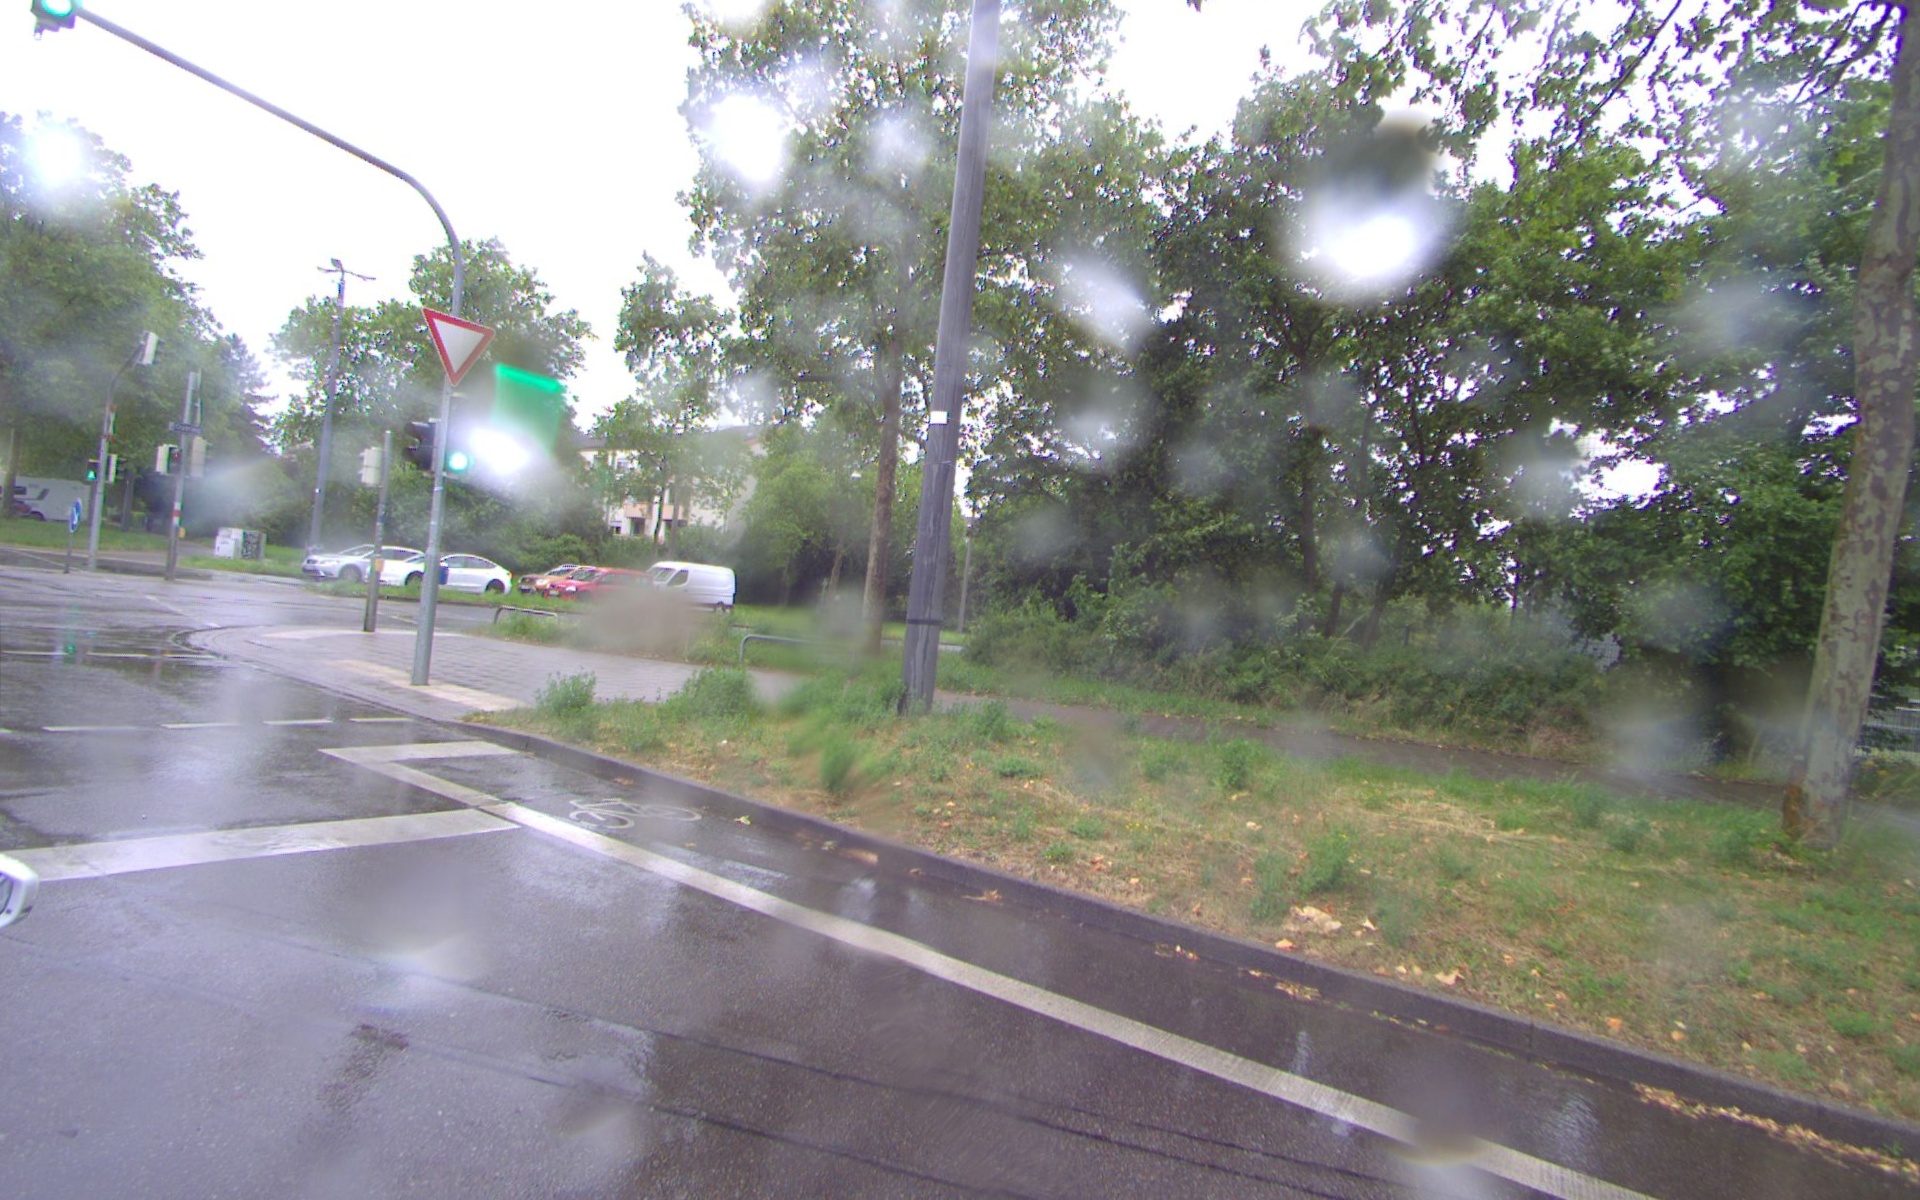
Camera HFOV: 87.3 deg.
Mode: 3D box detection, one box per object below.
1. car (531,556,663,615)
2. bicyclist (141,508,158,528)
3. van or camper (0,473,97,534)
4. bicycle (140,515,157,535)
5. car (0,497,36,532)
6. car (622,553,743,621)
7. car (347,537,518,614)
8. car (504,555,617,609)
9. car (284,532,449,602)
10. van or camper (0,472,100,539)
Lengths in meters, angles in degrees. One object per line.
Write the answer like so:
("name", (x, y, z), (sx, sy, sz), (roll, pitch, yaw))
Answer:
("car", (-13.832, -0.519, 38.624), (1.760, 1.625, 4.615), (6, -2, 29))
("bicyclist", (-64.332, -6.487, 79.810), (0.858, 1.441, 0.945), (8, -2, -42))
("van or camper", (-63.190, -6.647, 67.585), (7.388, 3.215, 3.231), (9, -2, -36))
("bicycle", (-64.295, -5.956, 79.692), (0.858, 1.441, 2.672), (8, -2, -41))
("car", (-55.735, -5.127, 57.191), (4.424, 1.736, 1.980), (9, -2, -37))
("car", (-12.985, -0.546, 47.554), (1.966, 2.419, 5.619), (6, -2, 29))
("car", (-17.150, -0.742, 32.978), (1.900, 1.849, 4.608), (7, -2, 26))
("car", (-16.416, -0.694, 41.509), (1.759, 1.625, 4.069), (7, -2, 26))
("car", (-20.141, -1.062, 34.377), (1.900, 1.710, 4.407), (7, -2, 26))
("van or camper", (-56.925, -5.902, 60.747), (7.296, 3.215, 3.226), (9, -2, -40))
